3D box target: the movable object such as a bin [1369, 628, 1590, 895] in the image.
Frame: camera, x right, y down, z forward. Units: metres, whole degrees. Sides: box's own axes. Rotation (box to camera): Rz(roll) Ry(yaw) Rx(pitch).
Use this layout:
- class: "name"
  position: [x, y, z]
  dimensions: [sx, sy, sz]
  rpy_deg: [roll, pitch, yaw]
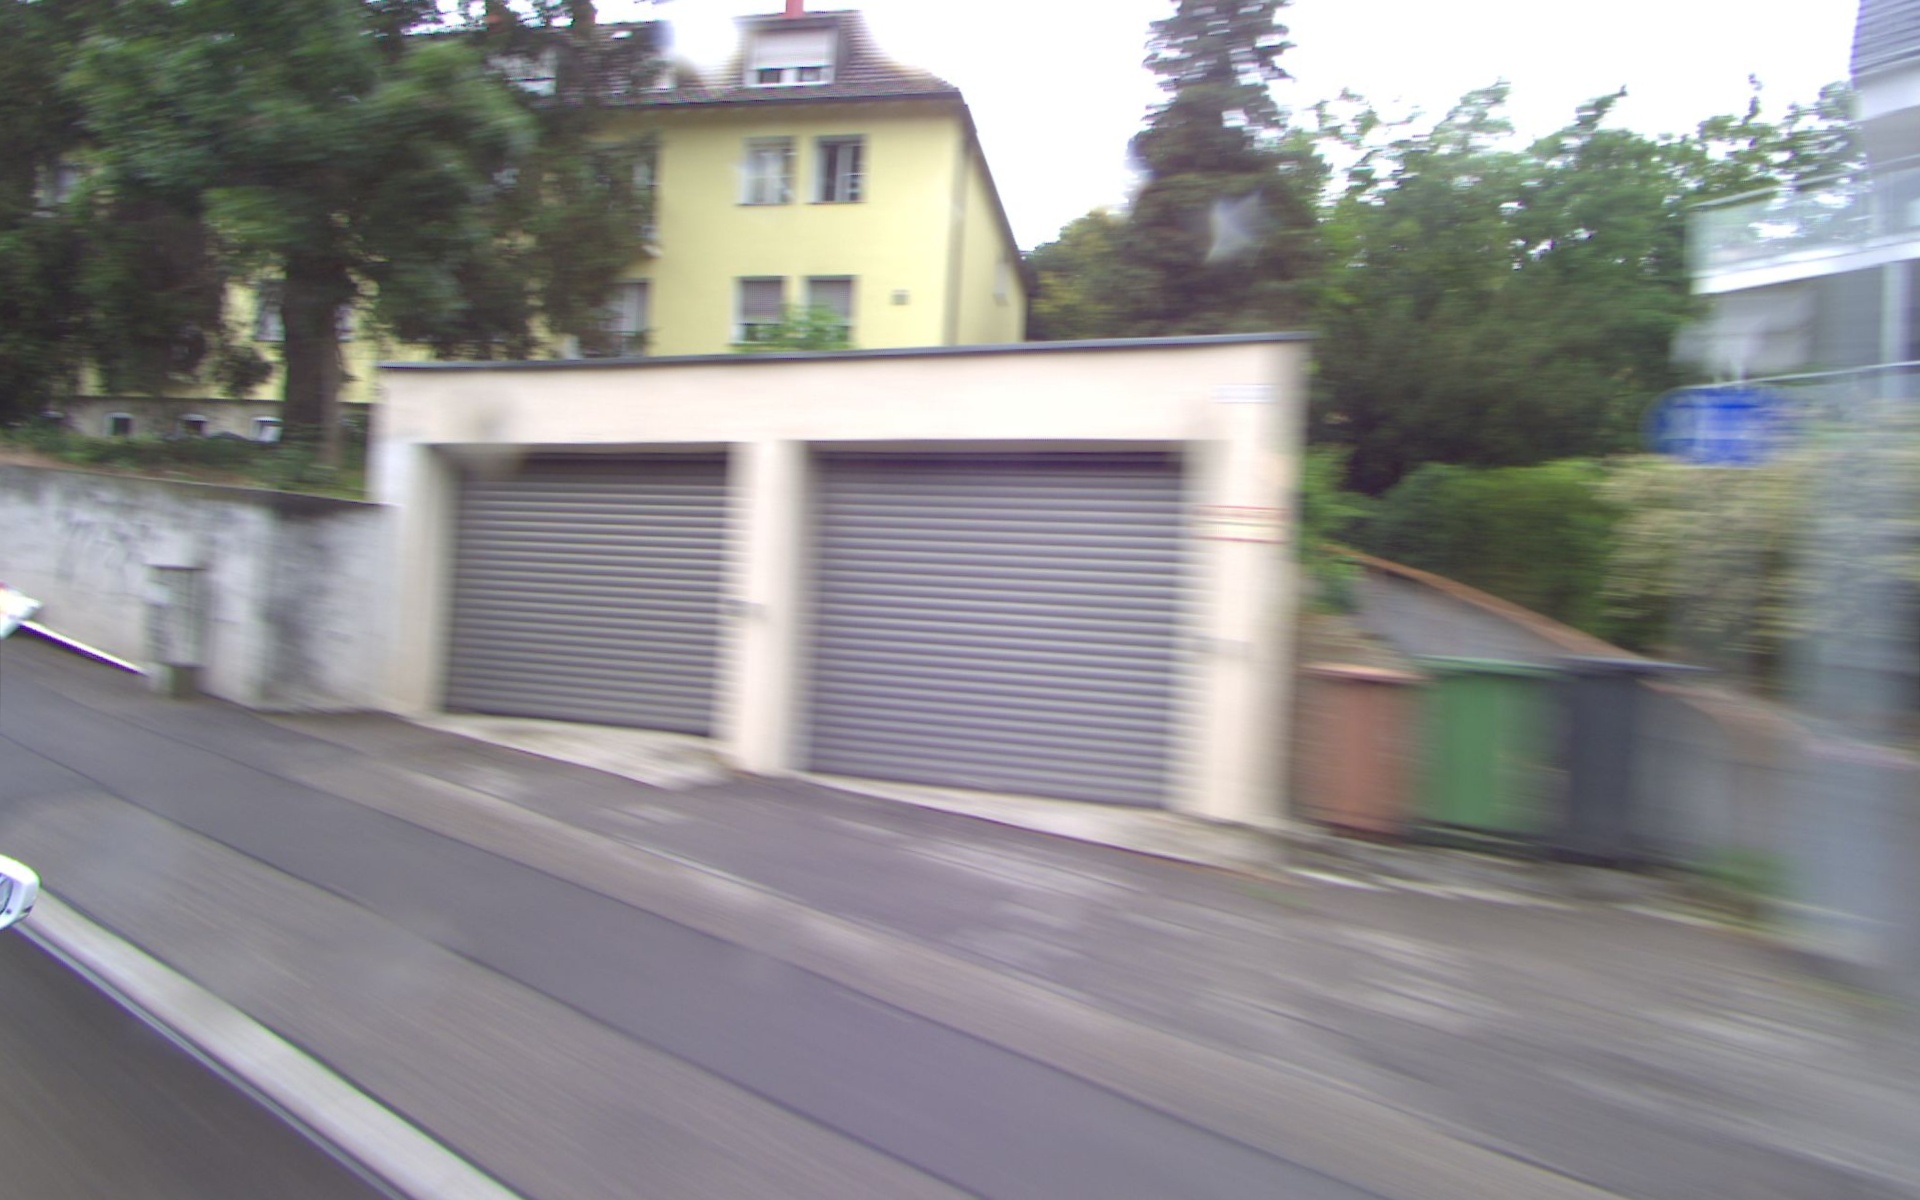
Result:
- class: "movable object such as a bin"
  position: [2.708, 0.797, 5.361]
  dimensions: [0.772, 1.201, 0.861]
  rpy_deg: [6, 2, 16]

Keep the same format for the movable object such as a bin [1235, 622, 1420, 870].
- class: "movable object such as a bin"
  position: [1.981, 0.745, 5.551]
  dimensions: [0.784, 1.157, 0.861]
  rpy_deg: [6, 2, 16]

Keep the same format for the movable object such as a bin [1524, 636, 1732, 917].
- class: "movable object such as a bin"
  position: [3.335, 0.838, 5.092]
  dimensions: [0.570, 1.240, 0.704]
  rpy_deg: [6, 2, 16]
